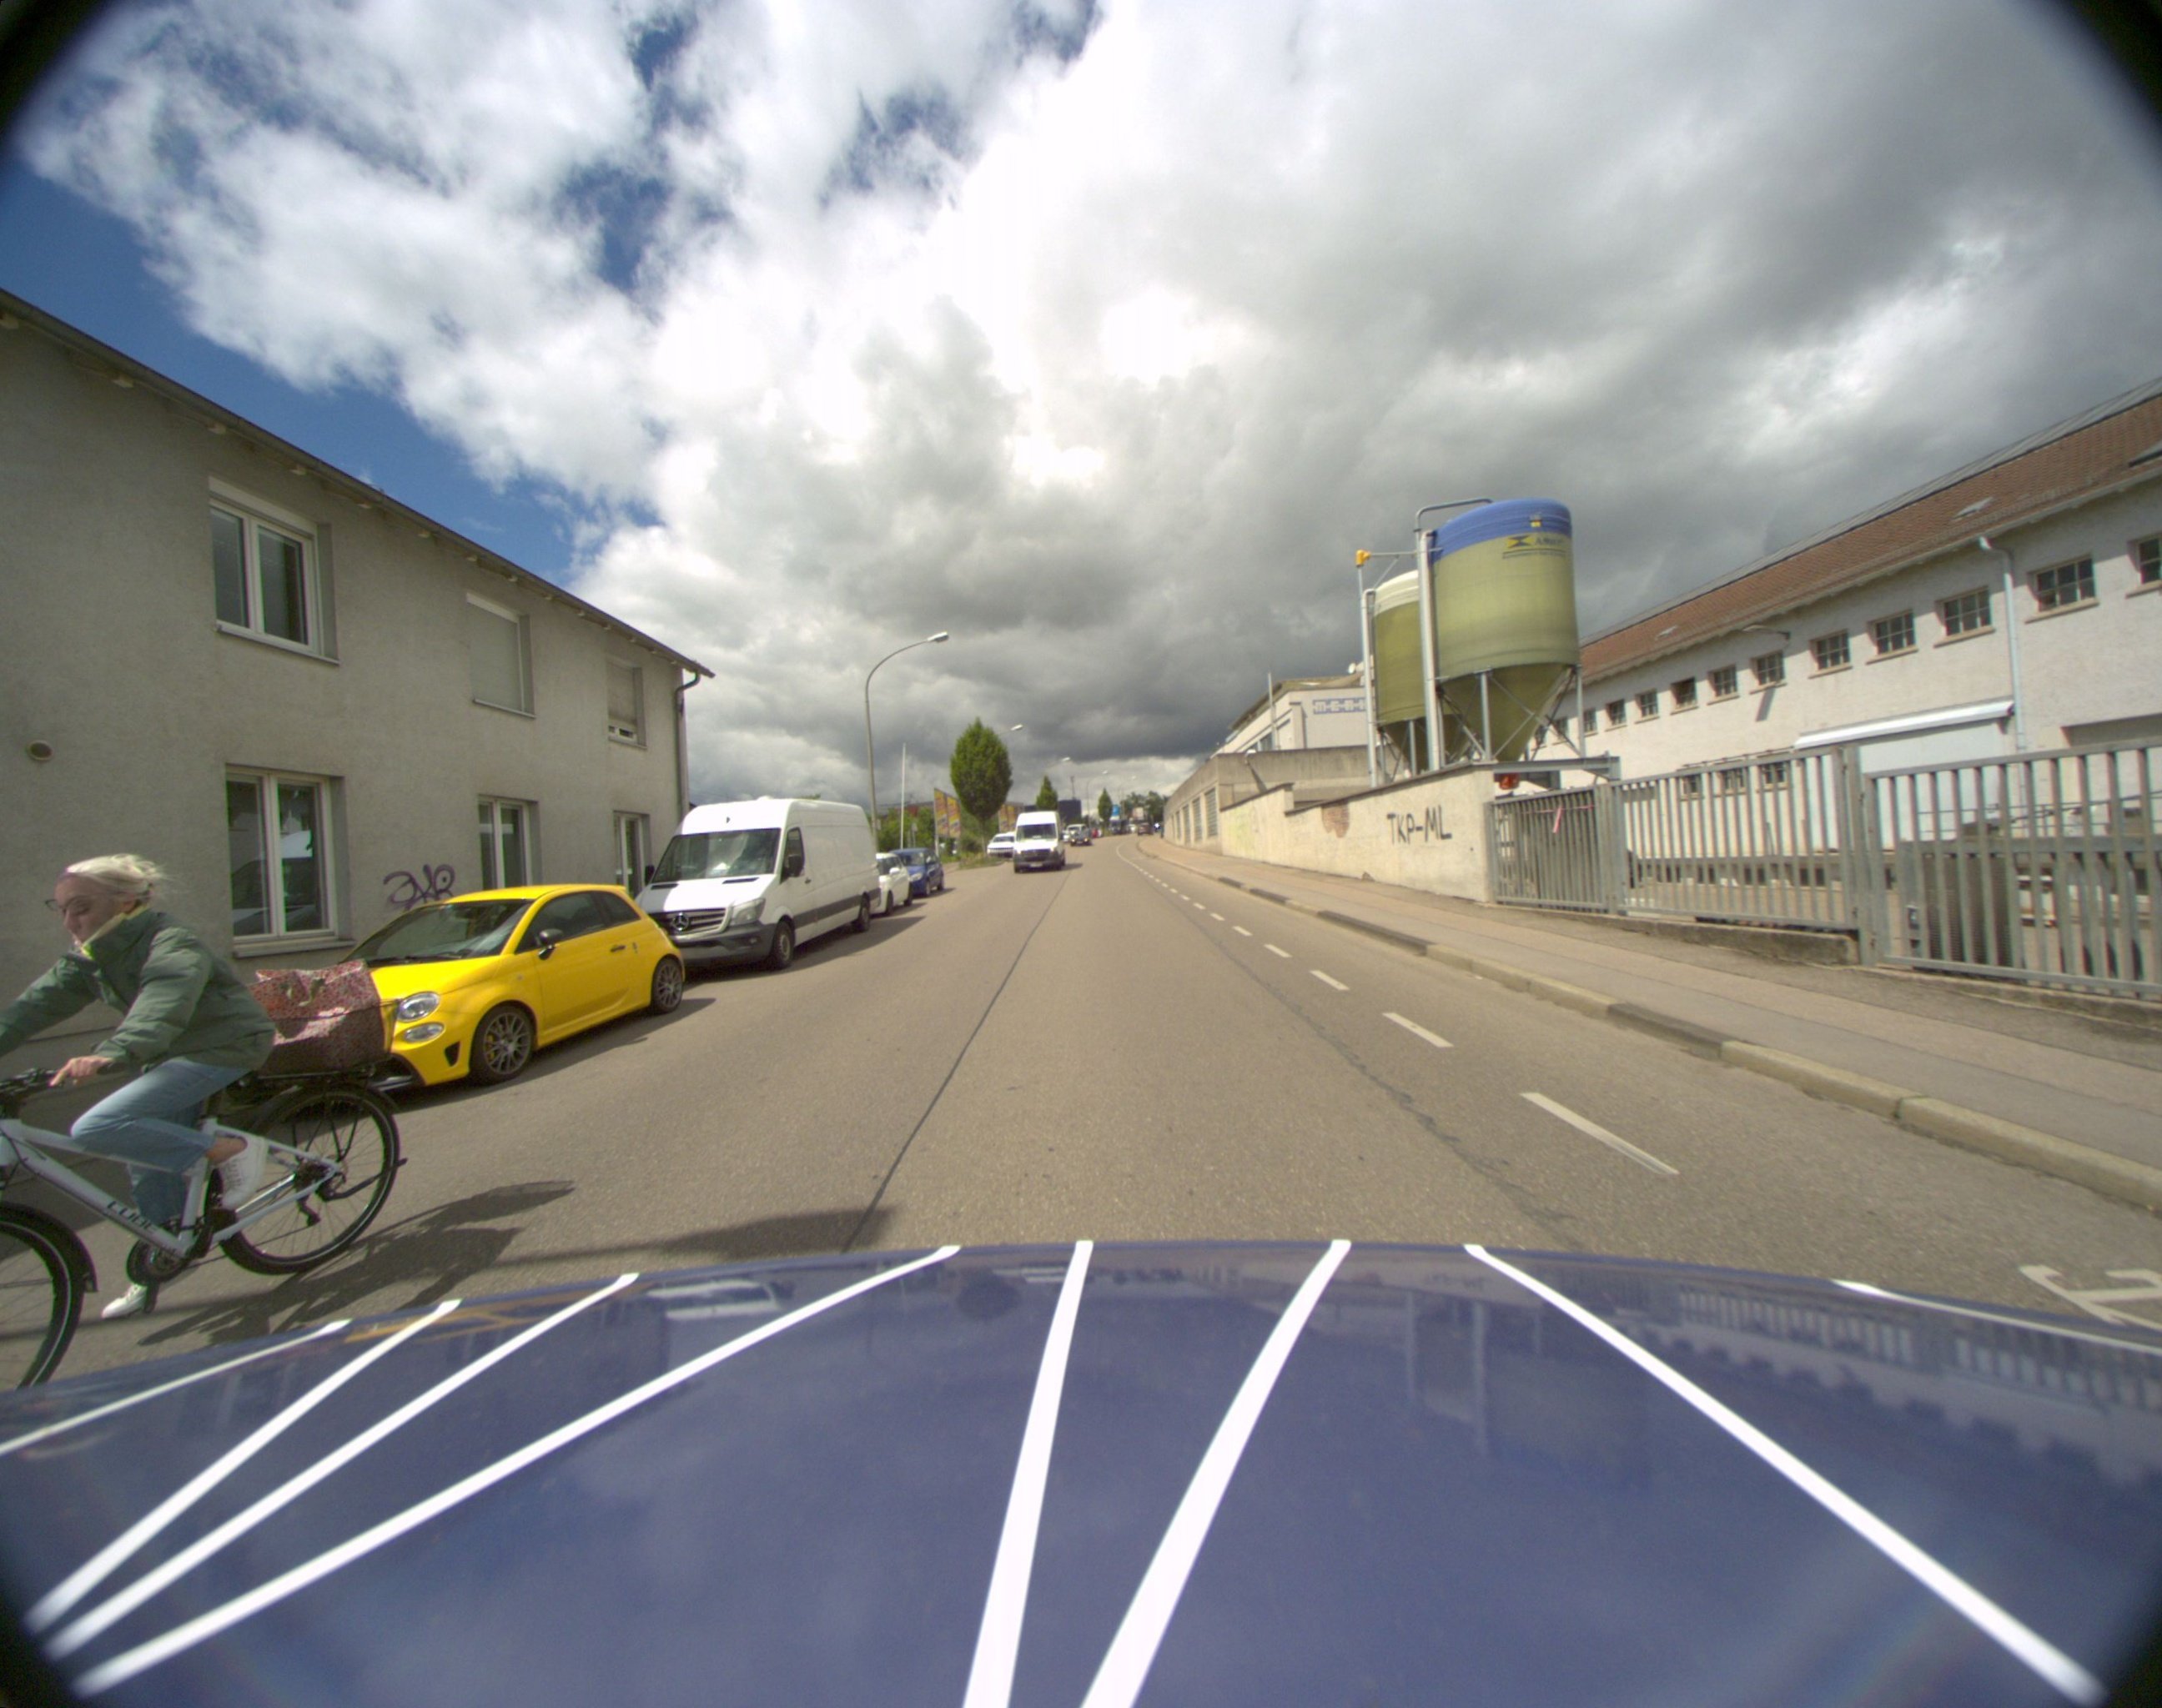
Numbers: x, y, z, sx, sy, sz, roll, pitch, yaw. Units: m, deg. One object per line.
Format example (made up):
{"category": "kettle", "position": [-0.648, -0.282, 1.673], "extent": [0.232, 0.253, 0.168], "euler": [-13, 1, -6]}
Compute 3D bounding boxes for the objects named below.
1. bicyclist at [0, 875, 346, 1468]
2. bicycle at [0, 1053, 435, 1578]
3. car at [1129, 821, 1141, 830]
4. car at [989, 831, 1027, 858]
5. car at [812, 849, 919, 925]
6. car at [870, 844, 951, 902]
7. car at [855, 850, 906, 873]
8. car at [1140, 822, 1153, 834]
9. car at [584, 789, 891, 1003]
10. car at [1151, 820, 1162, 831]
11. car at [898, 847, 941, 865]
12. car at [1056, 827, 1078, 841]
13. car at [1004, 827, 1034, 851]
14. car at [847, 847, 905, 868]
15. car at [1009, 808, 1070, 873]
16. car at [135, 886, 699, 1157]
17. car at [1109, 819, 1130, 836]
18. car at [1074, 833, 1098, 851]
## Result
{"category": "bicyclist", "position": [-3.200, 0.922, 2.469], "extent": [0.741, 1.618, 0.731], "euler": [-4, 3, -2]}
{"category": "bicycle", "position": [-3.165, 1.373, 2.395], "extent": [0.742, 0.970, 1.731], "euler": [-4, 1, -2]}
{"category": "car", "position": [9.408, -5.000, 133.339], "extent": [1.400, 1.425, 3.447], "euler": [-3, 2, 15]}
{"category": "car", "position": [-4.775, -0.678, 50.233], "extent": [1.846, 1.557, 4.464], "euler": [-2, 3, 2]}
{"category": "car", "position": [-5.312, 0.736, 19.186], "extent": [1.597, 1.502, 3.788], "euler": [-4, 3, -1]}
{"category": "car", "position": [-5.338, 0.529, 24.317], "extent": [1.571, 1.502, 4.092], "euler": [-3, 3, 0]}
{"category": "car", "position": [-15.721, 0.592, 59.883], "extent": [1.754, 1.509, 4.585], "euler": [-1, 3, 15]}
{"category": "car", "position": [9.355, -3.682, 108.640], "extent": [1.803, 1.613, 4.092], "euler": [-2, 2, 4]}
{"category": "car", "position": [-5.282, 0.415, 13.351], "extent": [2.038, 2.627, 7.279], "euler": [-4, 2, -1]}
{"category": "car", "position": [12.423, -4.743, 125.085], "extent": [1.630, 1.807, 3.779], "euler": [-2, 3, 4]}
{"category": "car", "position": [-15.681, 0.175, 73.892], "extent": [3.989, 1.532, 1.791], "euler": [-1, 3, 36]}
{"category": "car", "position": [-1.553, -2.305, 85.747], "extent": [1.640, 1.379, 4.206], "euler": [-3, 2, 11]}
{"category": "car", "position": [-4.569, -1.146, 56.454], "extent": [1.689, 1.650, 4.478], "euler": [-3, 3, 1]}
{"category": "car", "position": [-17.968, 0.289, 66.680], "extent": [4.451, 1.546, 2.002], "euler": [-2, 3, 19]}
{"category": "car", "position": [-1.744, -0.681, 34.224], "extent": [2.082, 2.577, 6.060], "euler": [-3, 3, 2]}
{"category": "car", "position": [-5.262, 1.179, 6.834], "extent": [1.596, 1.439, 3.789], "euler": [-3, 1, 1]}
{"category": "car", "position": [6.262, -4.299, 122.348], "extent": [2.057, 2.580, 5.738], "euler": [-3, 2, 15]}
{"category": "car", "position": [0.492, -1.184, 71.741], "extent": [1.584, 1.498, 3.958], "euler": [-3, 2, 10]}
